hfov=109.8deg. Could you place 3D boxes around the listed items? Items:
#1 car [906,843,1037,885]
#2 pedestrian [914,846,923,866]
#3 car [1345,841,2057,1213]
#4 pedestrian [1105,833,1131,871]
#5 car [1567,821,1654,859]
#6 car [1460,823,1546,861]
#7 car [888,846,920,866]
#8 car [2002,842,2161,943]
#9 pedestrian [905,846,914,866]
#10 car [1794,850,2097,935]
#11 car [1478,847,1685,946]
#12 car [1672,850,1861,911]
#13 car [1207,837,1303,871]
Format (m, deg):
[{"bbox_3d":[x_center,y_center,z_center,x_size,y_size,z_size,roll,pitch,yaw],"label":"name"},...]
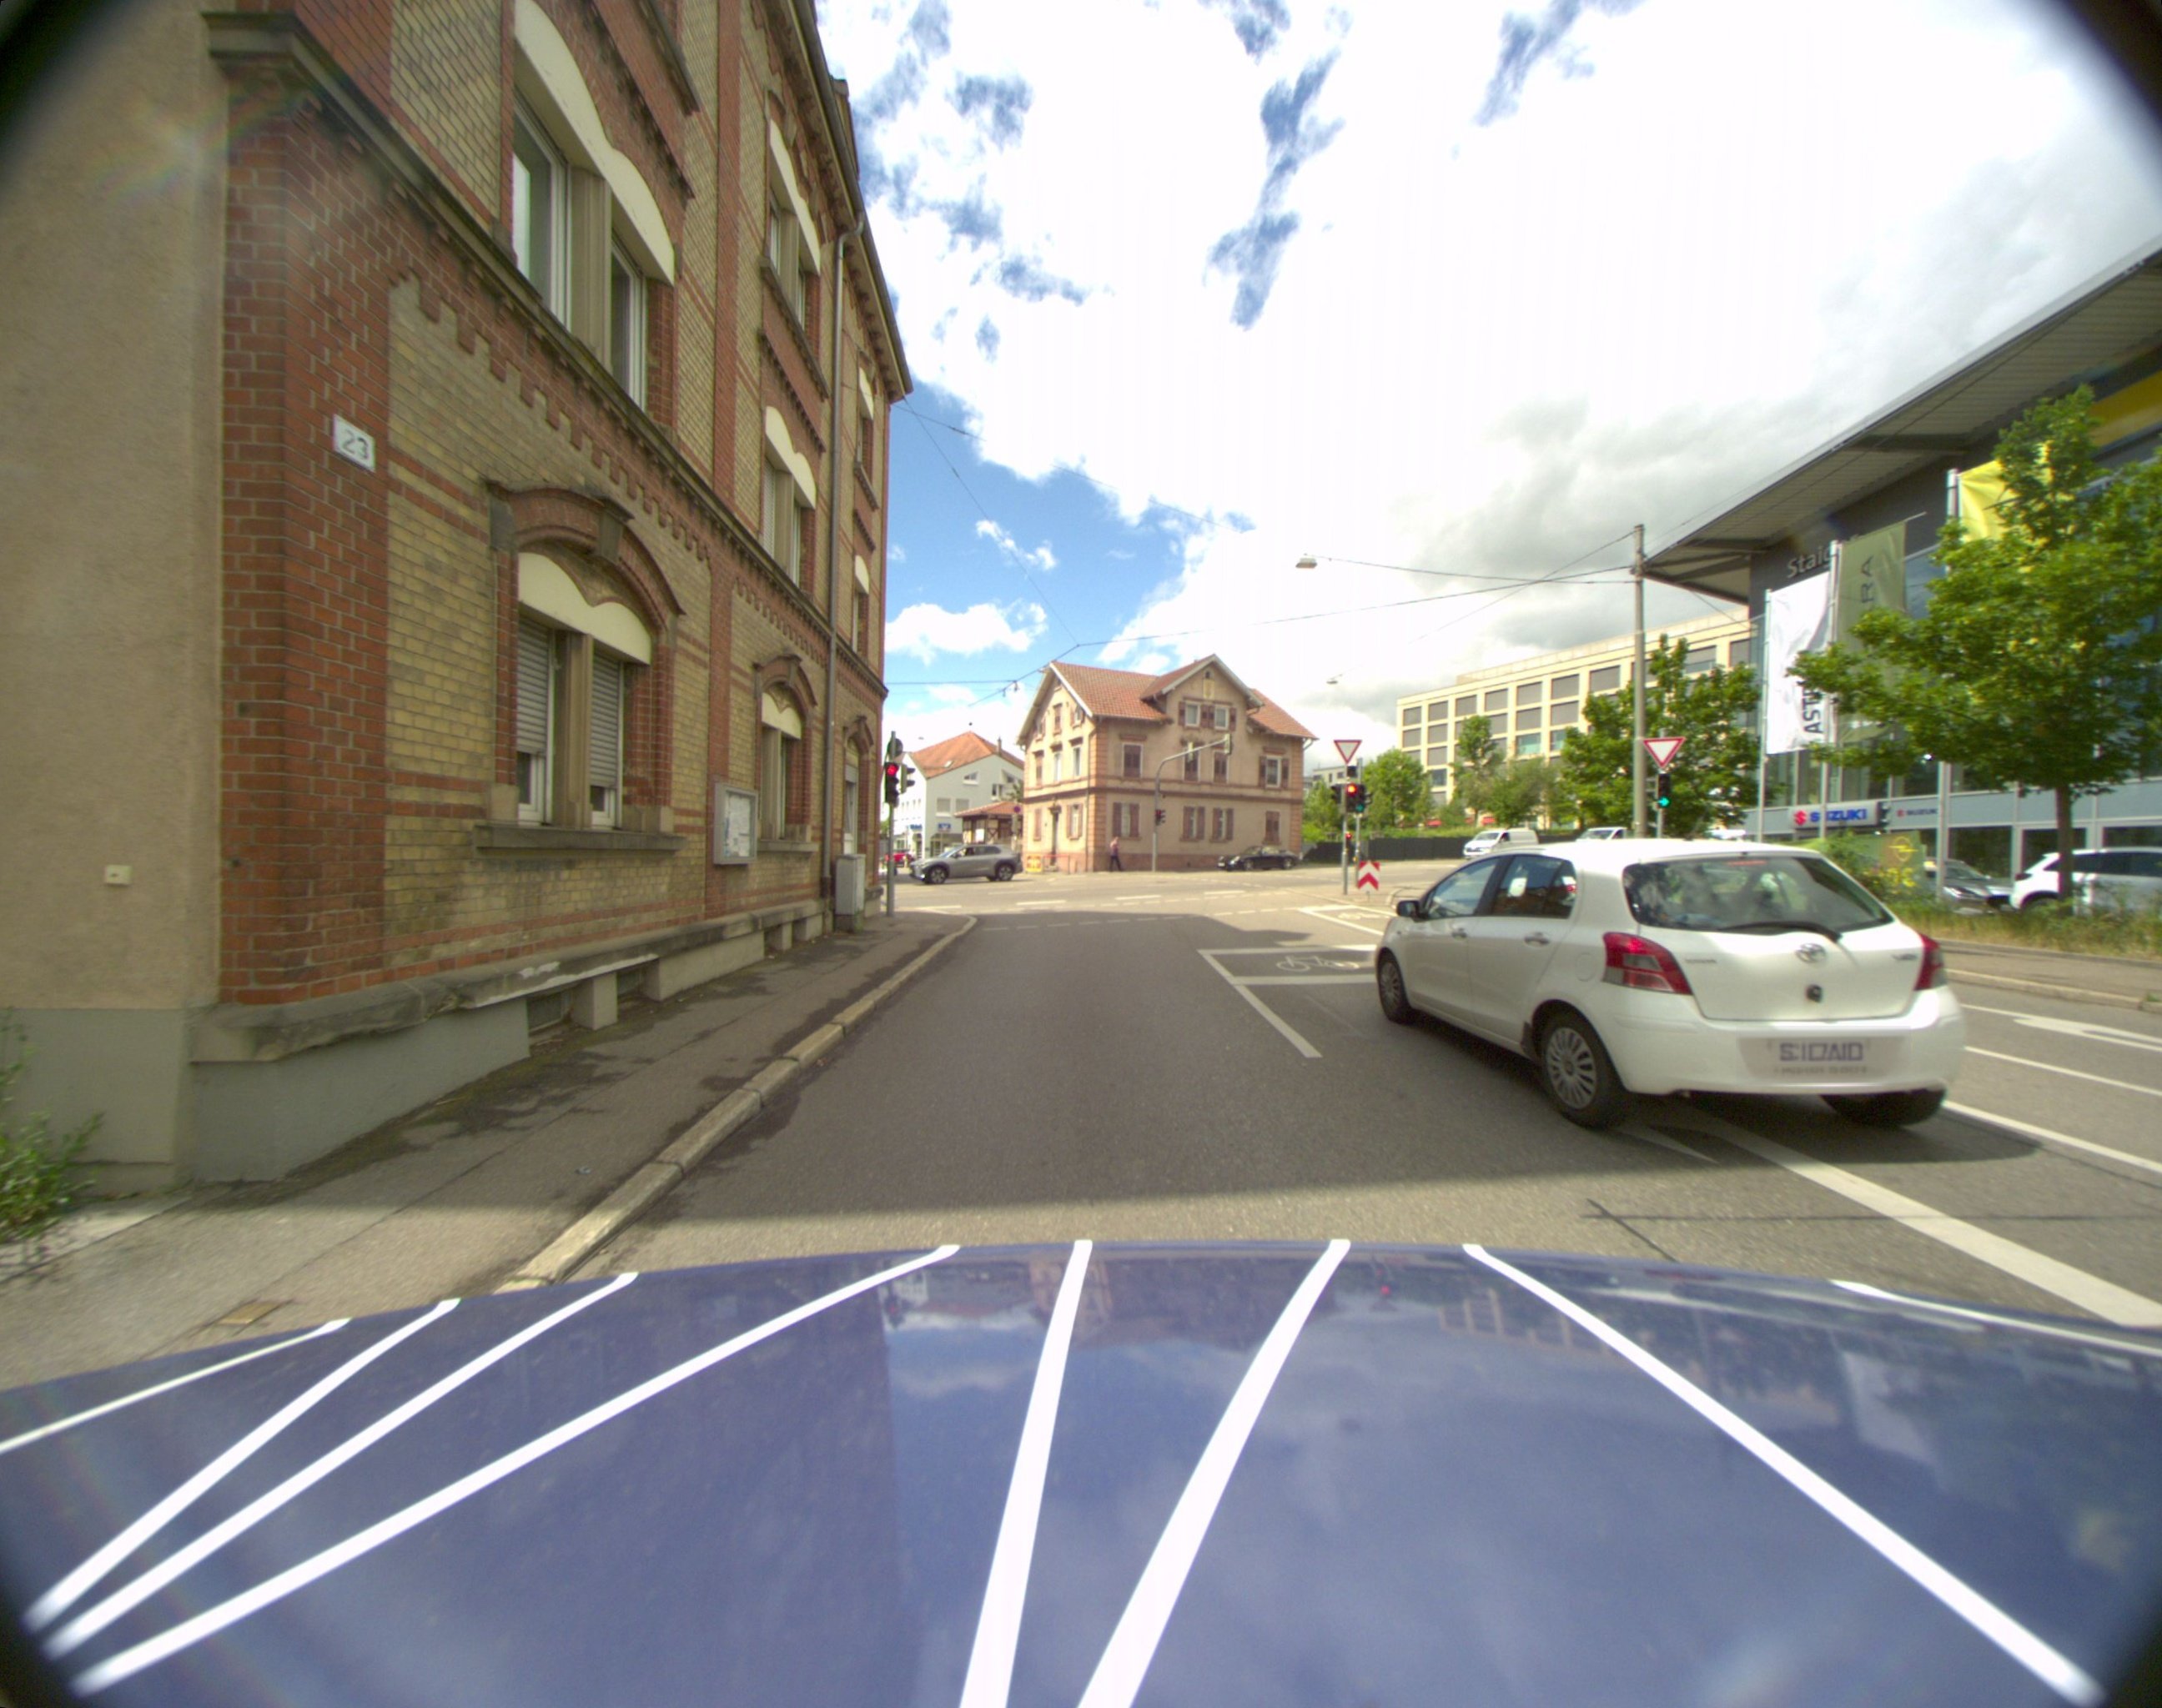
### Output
[{"bbox_3d":[-4.596,0.375,32.039,5.104,1.569,1.996,-1,1,-26],"label":"car"},{"bbox_3d":[-13.203,0.130,61.803,0.612,1.587,0.723,-3,2,-13],"label":"pedestrian"},{"bbox_3d":[3.332,0.718,5.244,1.723,1.572,4.000,-1,1,2],"label":"car"},{"bbox_3d":[1.862,-0.086,38.316,1.049,1.854,0.722,-3,2,-26],"label":"pedestrian"},{"bbox_3d":[31.191,-0.838,44.758,4.995,1.981,1.996,-3,1,-26],"label":"car"},{"bbox_3d":[25.428,-0.730,45.758,4.822,2.000,1.996,-3,2,-25],"label":"car"},{"bbox_3d":[-14.932,0.151,64.008,2.002,1.532,3.992,-3,1,-22],"label":"car"},{"bbox_3d":[18.137,0.613,12.249,1.946,1.554,3.997,-1,1,6],"label":"car"},{"bbox_3d":[-13.892,0.177,61.670,0.568,1.587,0.763,-3,2,-8],"label":"pedestrian"},{"bbox_3d":[18.723,0.738,16.842,1.947,1.554,4.306,-1,1,4],"label":"car"},{"bbox_3d":[9.284,0.656,14.587,1.721,1.488,4.466,2,2,11],"label":"car"},{"bbox_3d":[19.058,0.668,21.451,1.946,1.465,4.308,-1,1,9],"label":"car"},{"bbox_3d":[8.720,-0.022,37.966,4.335,1.458,1.996,-3,1,-26],"label":"car"}]
